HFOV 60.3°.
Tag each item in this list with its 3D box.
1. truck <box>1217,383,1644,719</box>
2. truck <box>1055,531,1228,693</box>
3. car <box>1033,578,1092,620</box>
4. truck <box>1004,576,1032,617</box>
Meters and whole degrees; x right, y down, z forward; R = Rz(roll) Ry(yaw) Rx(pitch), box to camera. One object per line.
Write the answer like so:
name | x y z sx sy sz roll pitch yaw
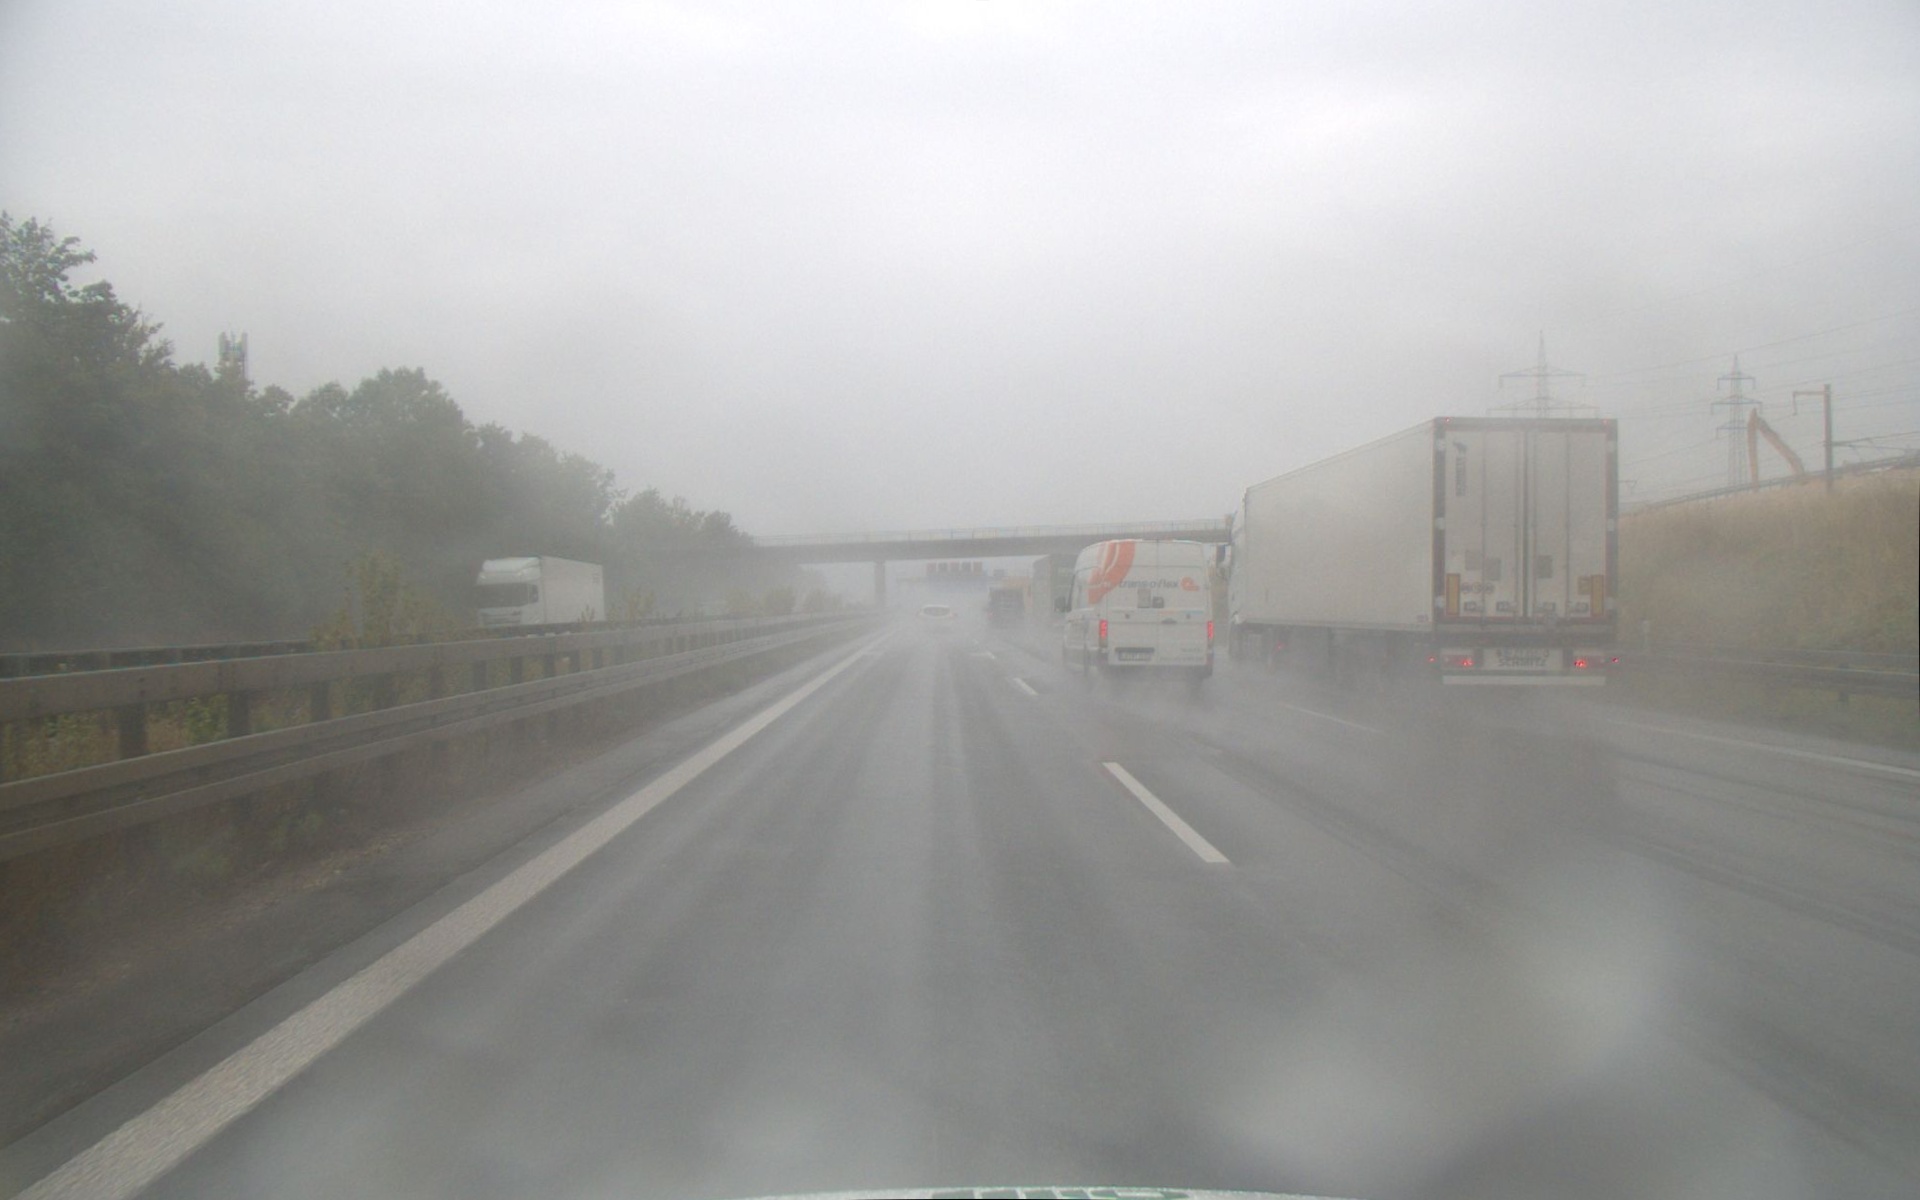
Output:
truck | 7.874 -0.709 31.374 2.978 4.668 16.345 1 0 -2
truck | 3.041 0.142 28.988 2.370 2.536 5.560 1 1 0
car | 5.355 -0.072 87.232 2.731 2.048 4.992 1 1 -1
truck | 5.195 -0.387 149.415 2.066 3.577 5.246 1 1 -2
